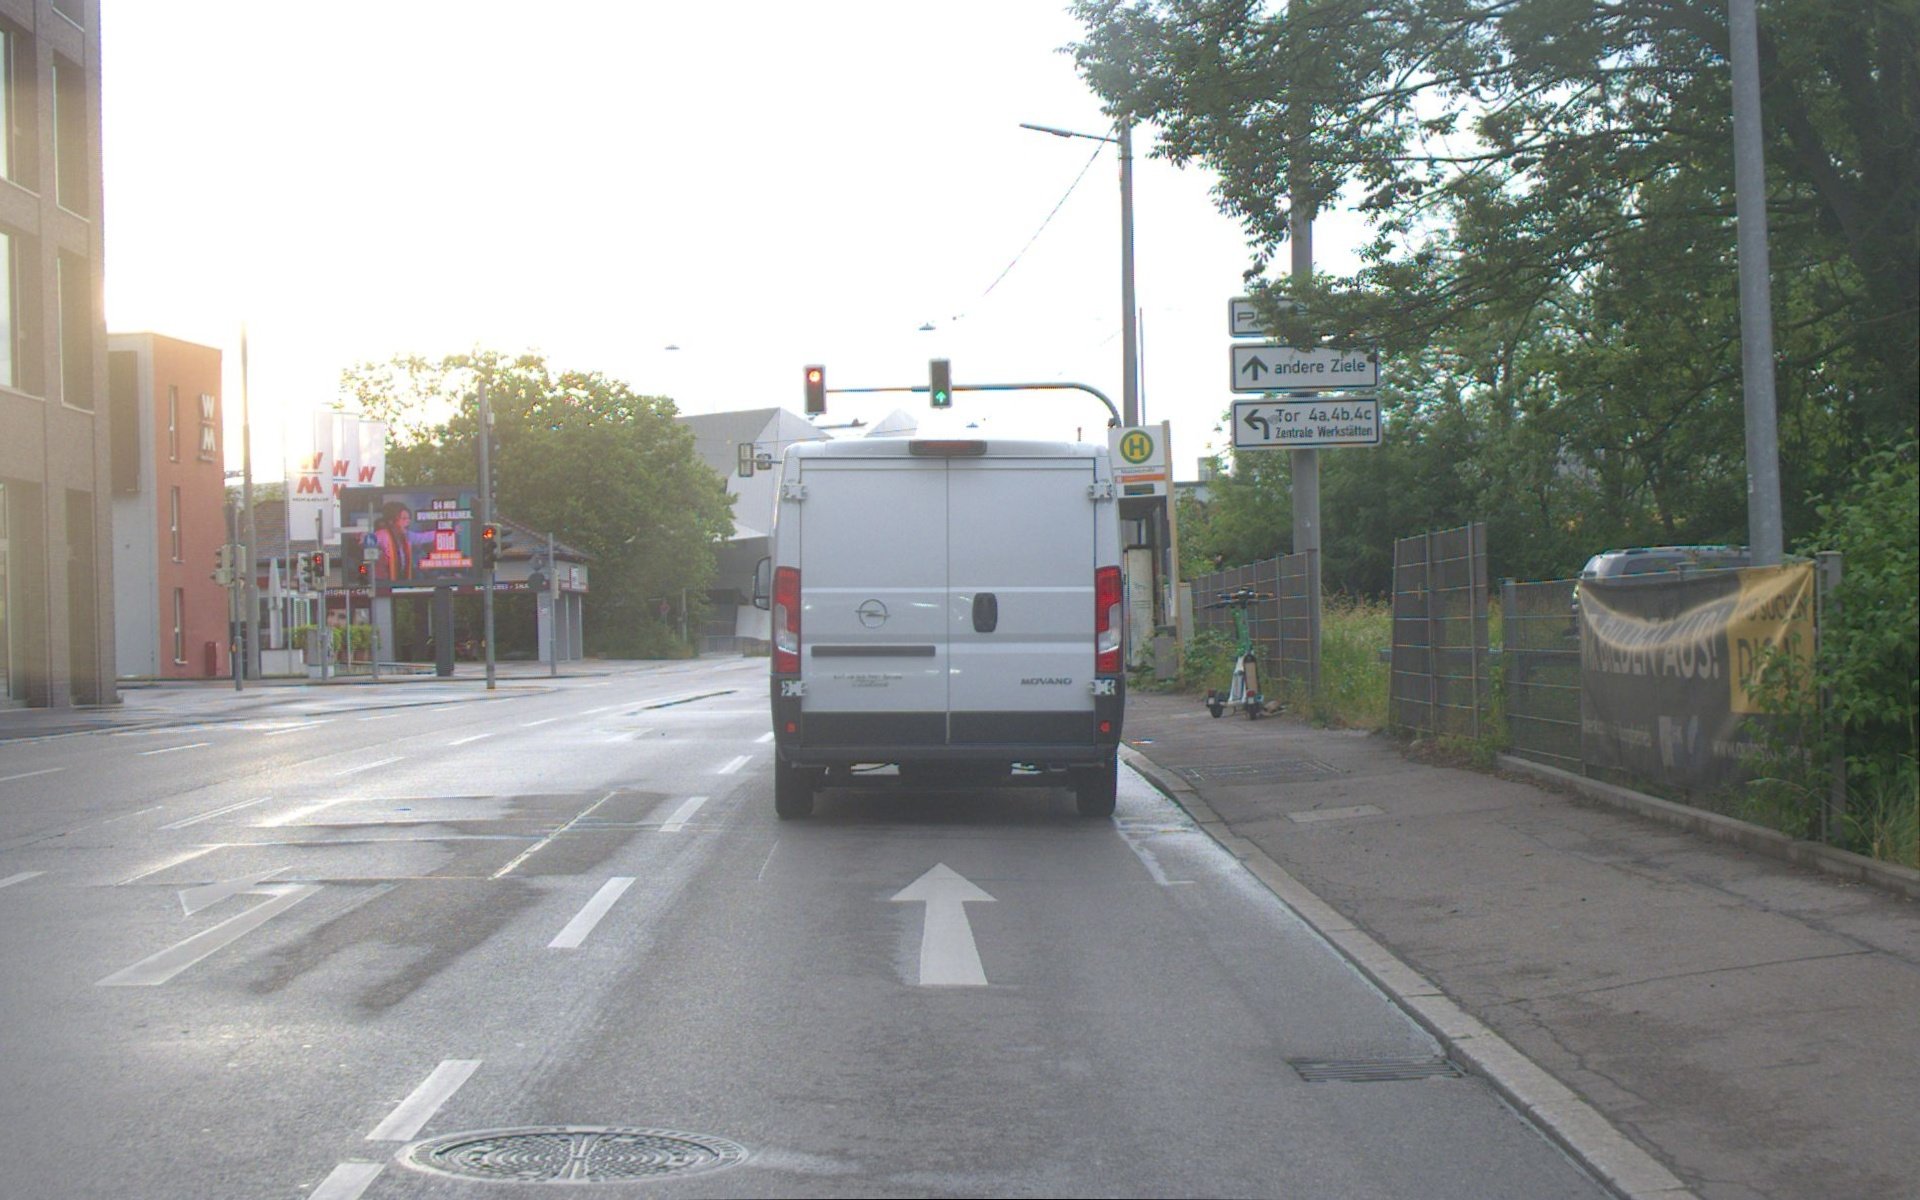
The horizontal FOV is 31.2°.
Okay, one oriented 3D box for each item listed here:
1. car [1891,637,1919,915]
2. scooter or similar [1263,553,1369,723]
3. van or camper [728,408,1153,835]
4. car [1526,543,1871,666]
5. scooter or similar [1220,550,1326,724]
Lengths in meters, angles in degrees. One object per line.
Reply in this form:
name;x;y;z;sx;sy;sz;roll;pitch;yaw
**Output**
car;7.316;0.966;18.658;3.986;1.516;1.804;0;1;-5
scooter or similar;3.336;0.339;32.318;0.434;1.559;1.273;-1;1;-23
van or camper;-0.106;0.060;21.580;2.340;2.349;5.200;0;1;0
car;9.481;0.044;44.296;3.986;1.516;1.804;0;1;-5
scooter or similar;2.921;0.333;32.140;0.434;1.582;1.273;-1;1;-23
